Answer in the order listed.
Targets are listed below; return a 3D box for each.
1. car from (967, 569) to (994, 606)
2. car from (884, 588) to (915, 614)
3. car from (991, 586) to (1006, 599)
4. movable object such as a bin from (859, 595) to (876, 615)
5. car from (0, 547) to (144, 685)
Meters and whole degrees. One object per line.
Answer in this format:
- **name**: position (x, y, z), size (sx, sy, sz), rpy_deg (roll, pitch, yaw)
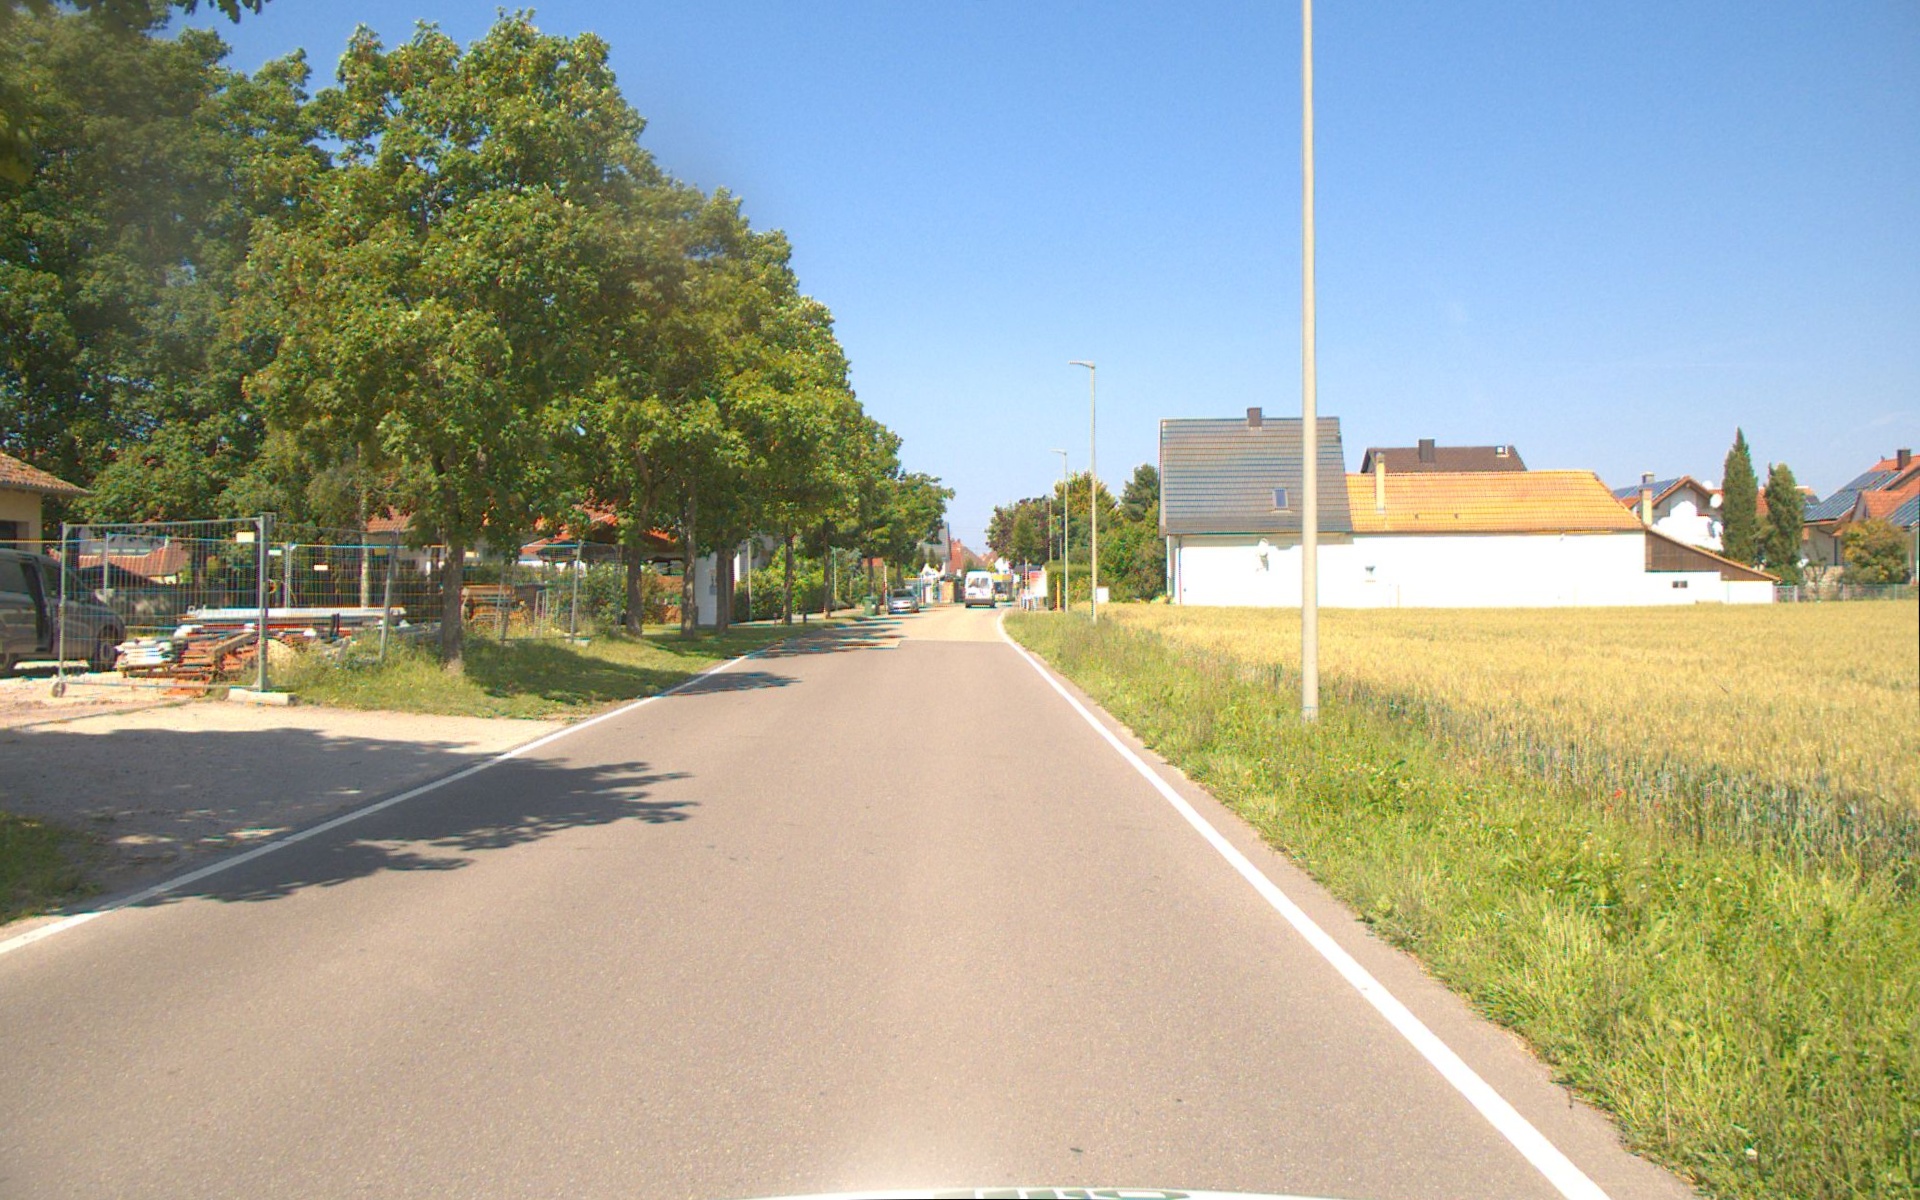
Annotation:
- **car**: position (1.457, -0.869, 116.395), size (1.701, 2.474, 4.375), rpy_deg (-1, 0, 2)
- **car**: position (-3.565, 0.039, 98.057), size (1.613, 1.448, 4.080), rpy_deg (-3, 0, 0)
- **car**: position (4.691, -0.907, 200.660), size (1.632, 1.550, 3.441), rpy_deg (-2, 0, -1)
- **movable object such as a bin**: position (-5.157, 0.287, 92.597), size (0.699, 1.097, 0.639), rpy_deg (-1, 0, 27)
- **car**: position (-13.985, 0.208, 24.250), size (1.930, 1.870, 4.328), rpy_deg (0, 0, -1)
